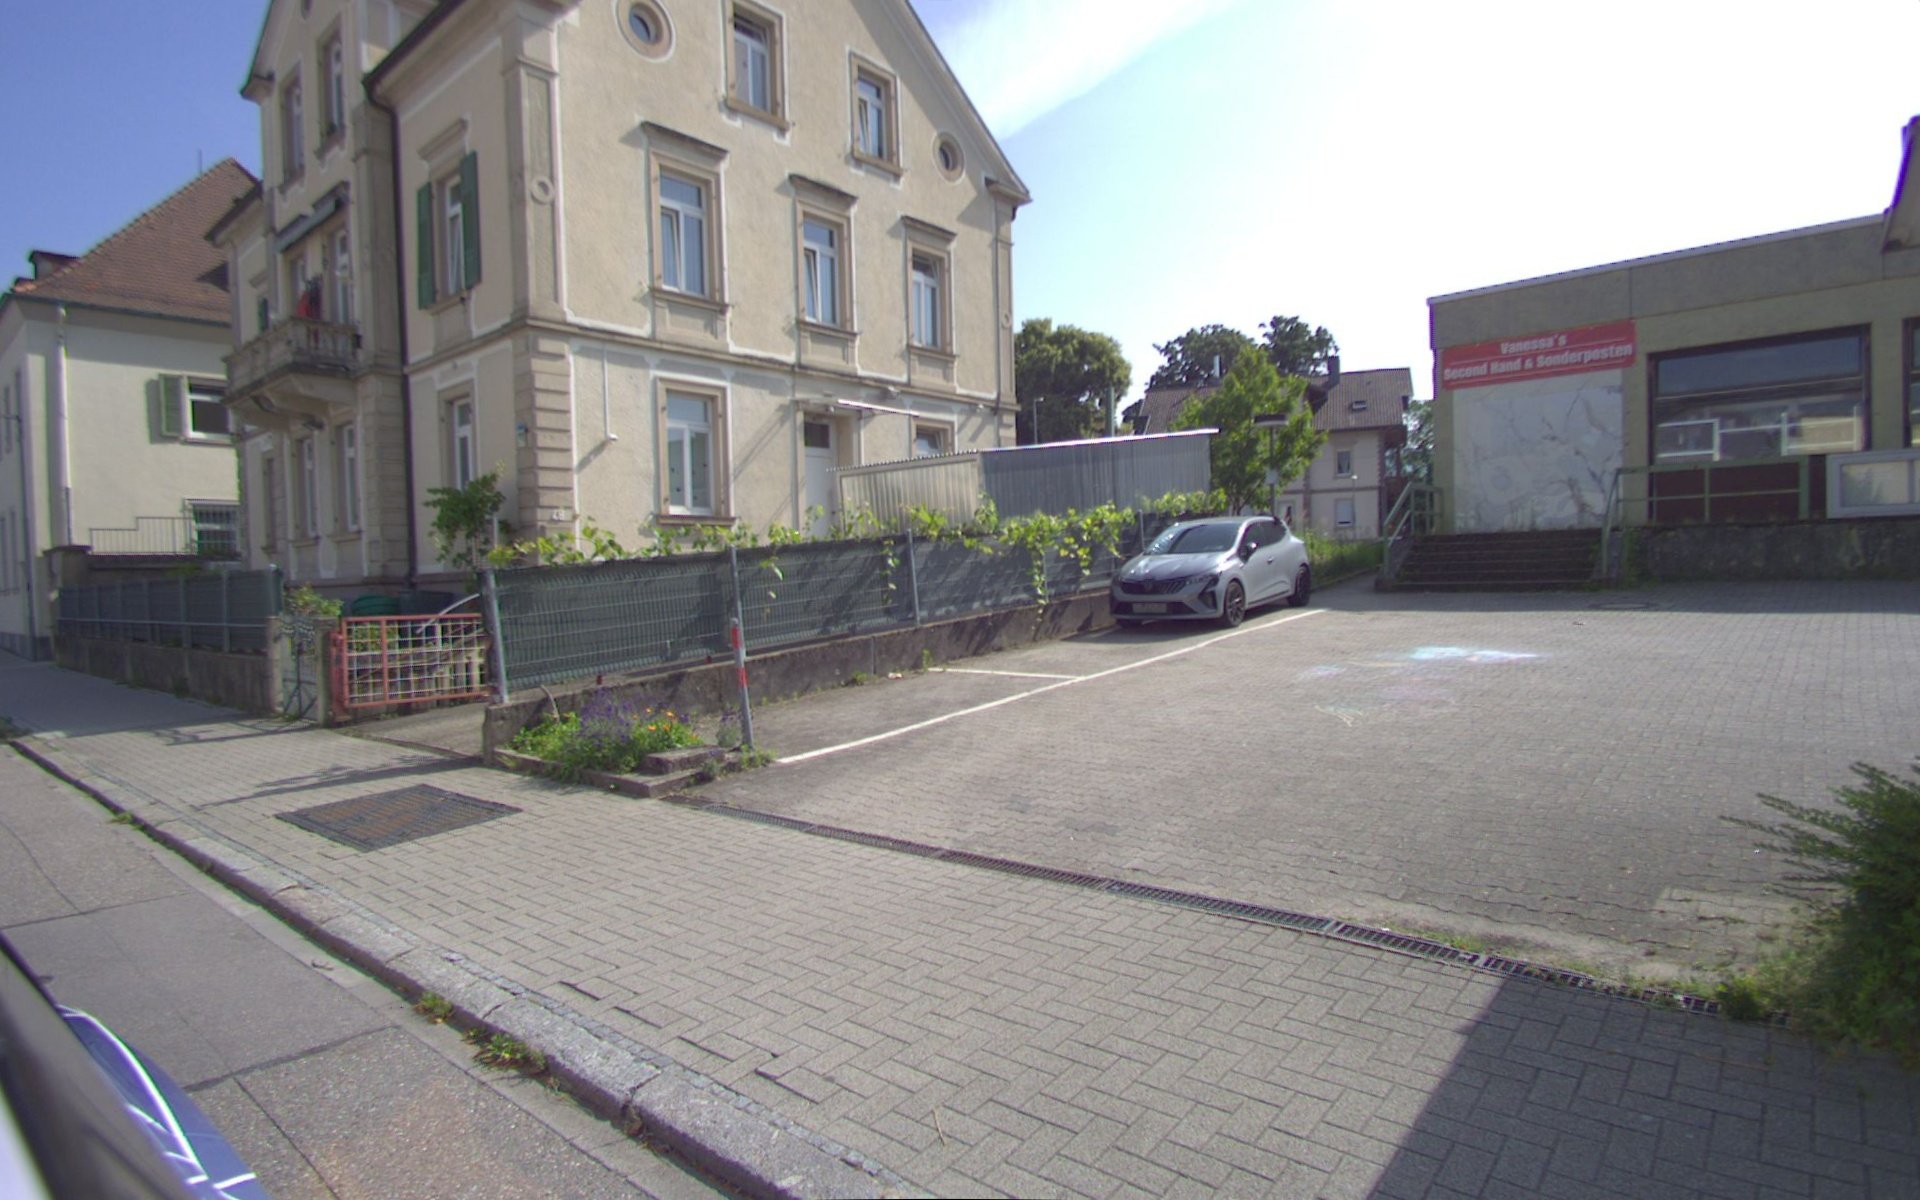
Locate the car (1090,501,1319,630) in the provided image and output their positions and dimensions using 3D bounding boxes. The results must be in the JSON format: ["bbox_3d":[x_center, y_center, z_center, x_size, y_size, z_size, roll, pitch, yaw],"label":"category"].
[{"bbox_3d":[3.619,-0.561,14.532,1.704,1.426,3.796,-1,6,39],"label":"car"}]
